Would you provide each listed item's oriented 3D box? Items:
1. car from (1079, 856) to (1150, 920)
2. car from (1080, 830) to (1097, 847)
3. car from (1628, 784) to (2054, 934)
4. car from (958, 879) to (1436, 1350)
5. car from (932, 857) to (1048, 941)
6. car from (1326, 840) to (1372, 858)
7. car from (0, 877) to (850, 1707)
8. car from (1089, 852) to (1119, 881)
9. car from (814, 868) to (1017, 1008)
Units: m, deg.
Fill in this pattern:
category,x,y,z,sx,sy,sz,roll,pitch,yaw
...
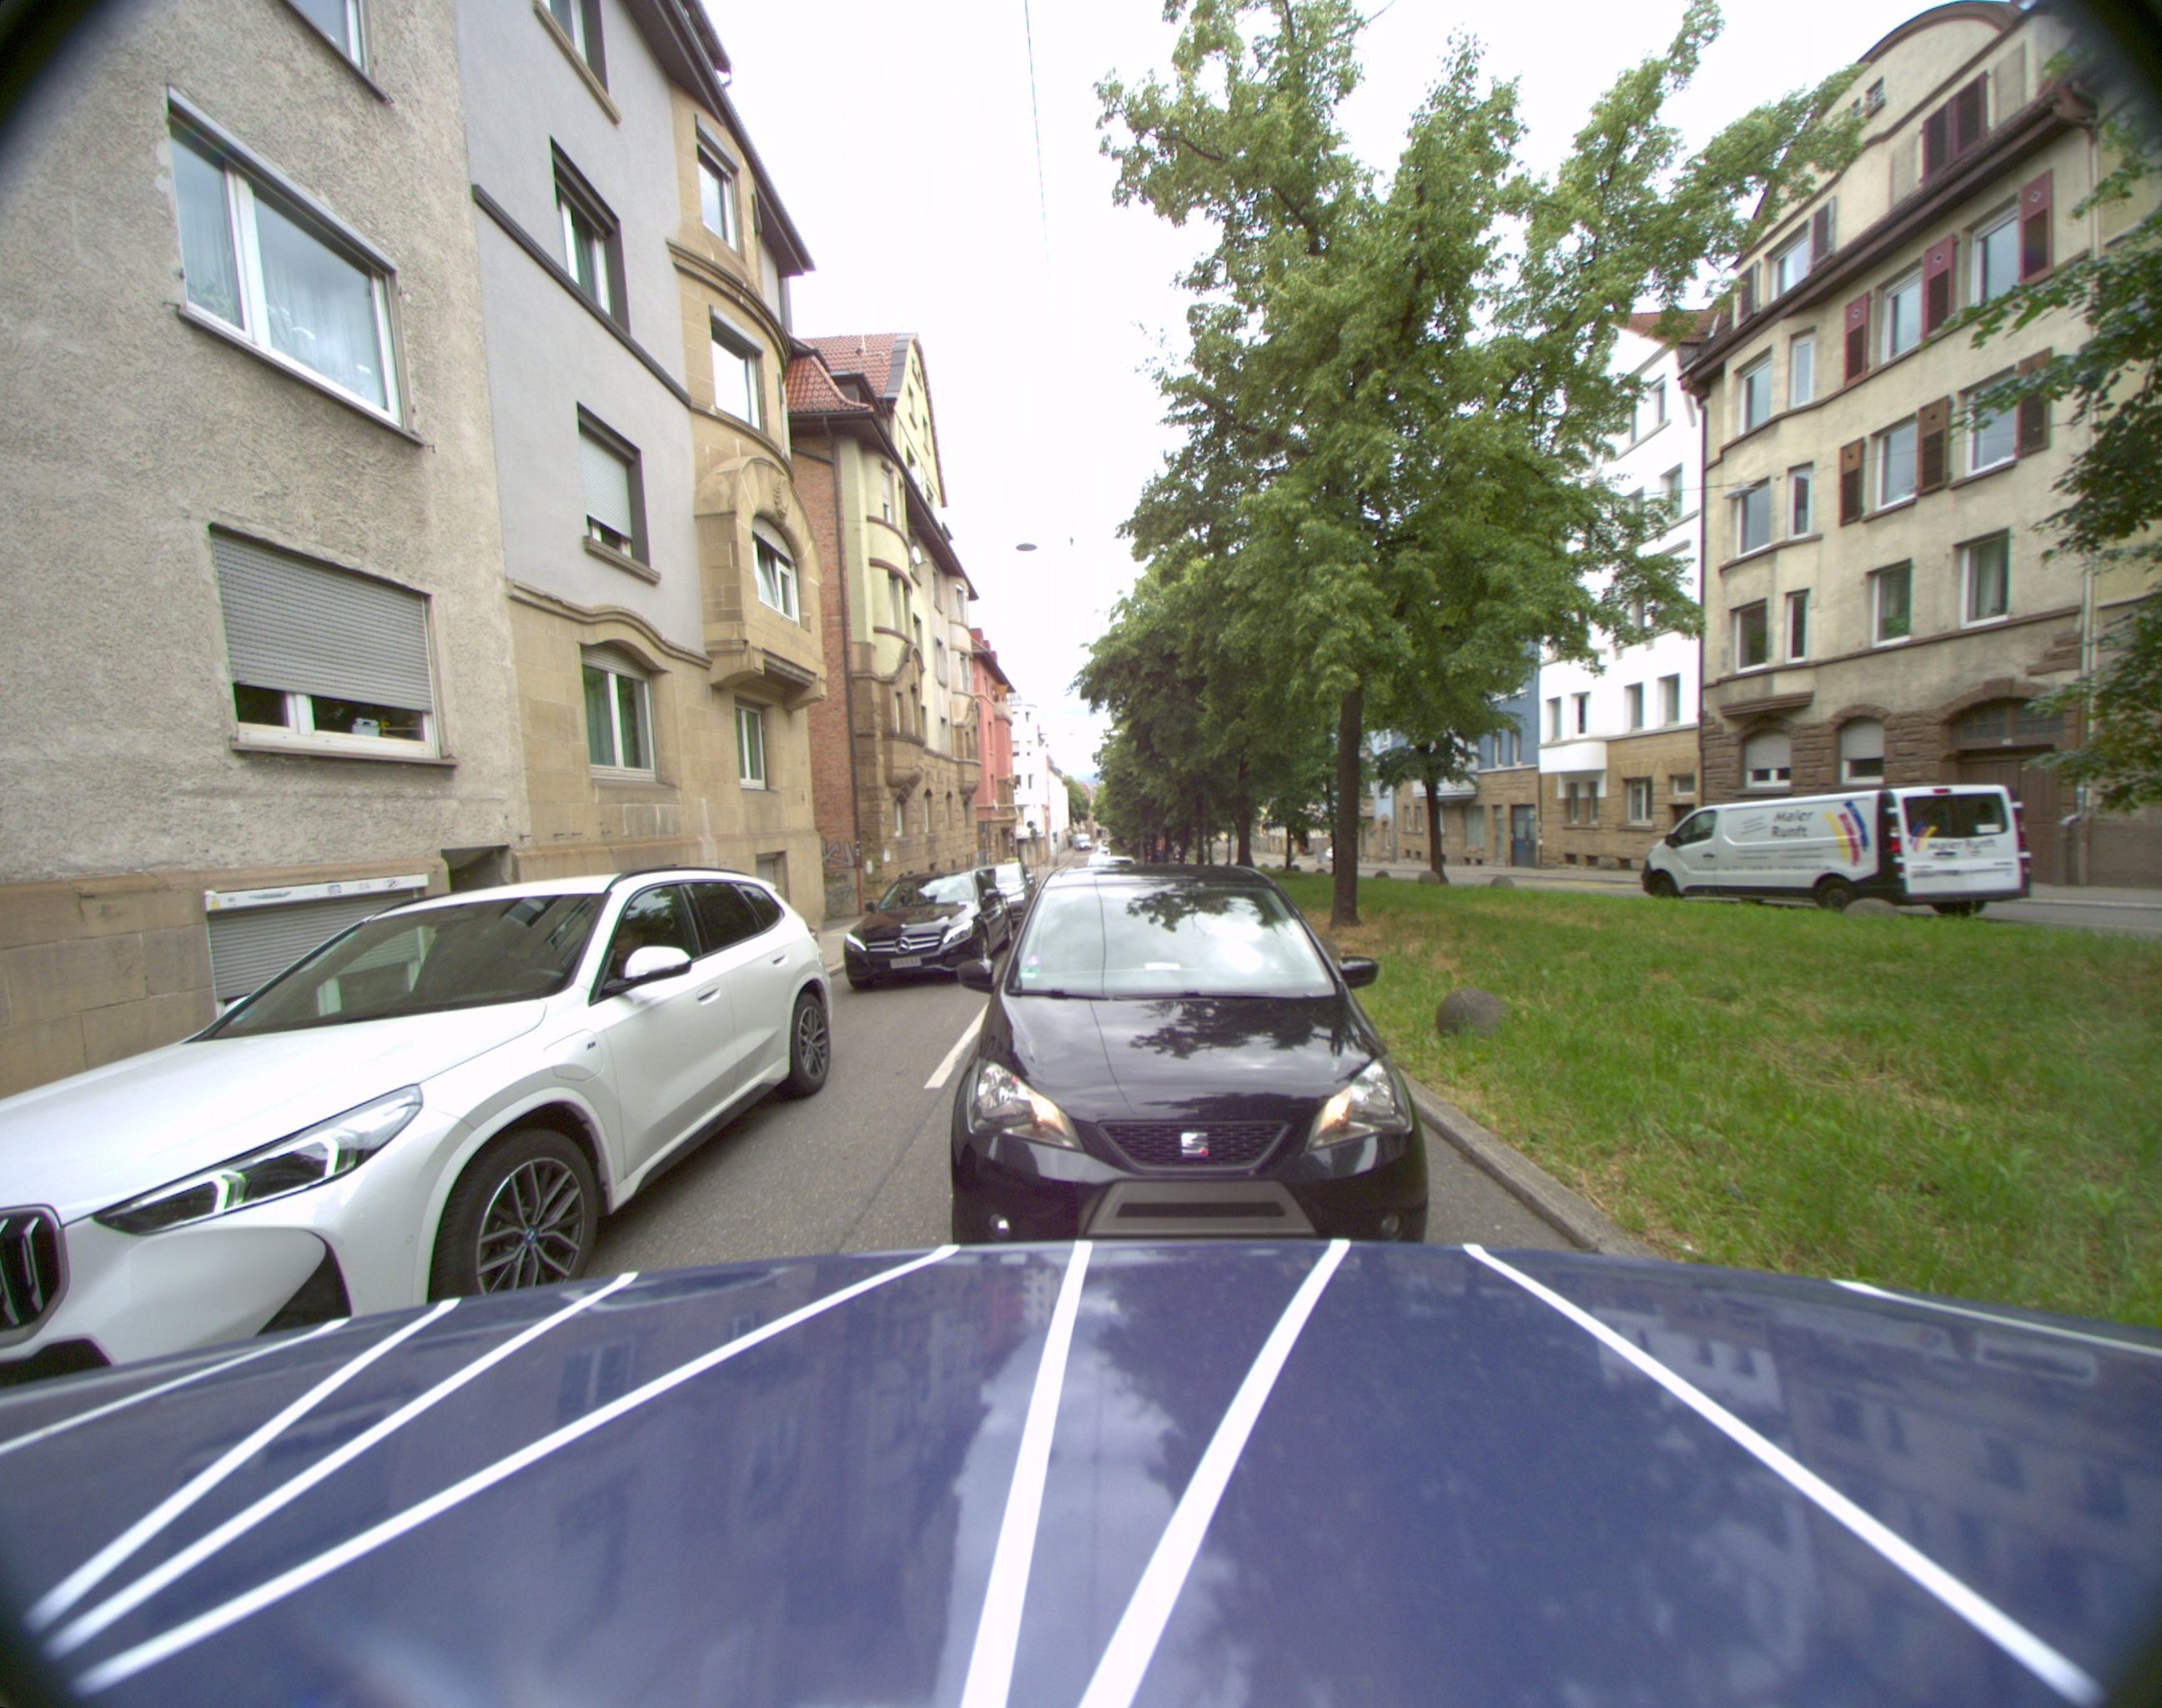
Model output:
category,x,y,z,sx,sy,sz,roll,pitch,yaw
car,0.831,0.824,20.243,1.664,1.456,3.580,-2,1,1
car,1.241,-2.684,132.668,2.716,2.879,6.452,-2,1,0
car,12.230,0.067,12.974,1.998,1.933,5.307,-3,0,2
car,0.414,0.946,4.226,1.611,1.457,3.296,0,1,1
car,-2.000,0.946,17.982,1.936,1.506,4.303,-6,1,2
car,22.223,-0.440,63.098,3.291,1.323,1.672,-2,1,10
car,-2.818,1.076,3.734,1.859,1.547,4.350,-6,1,0
car,1.305,0.704,44.519,1.607,1.492,3.737,-2,1,1
car,-2.161,1.051,11.211,1.884,1.369,4.205,-6,1,1
